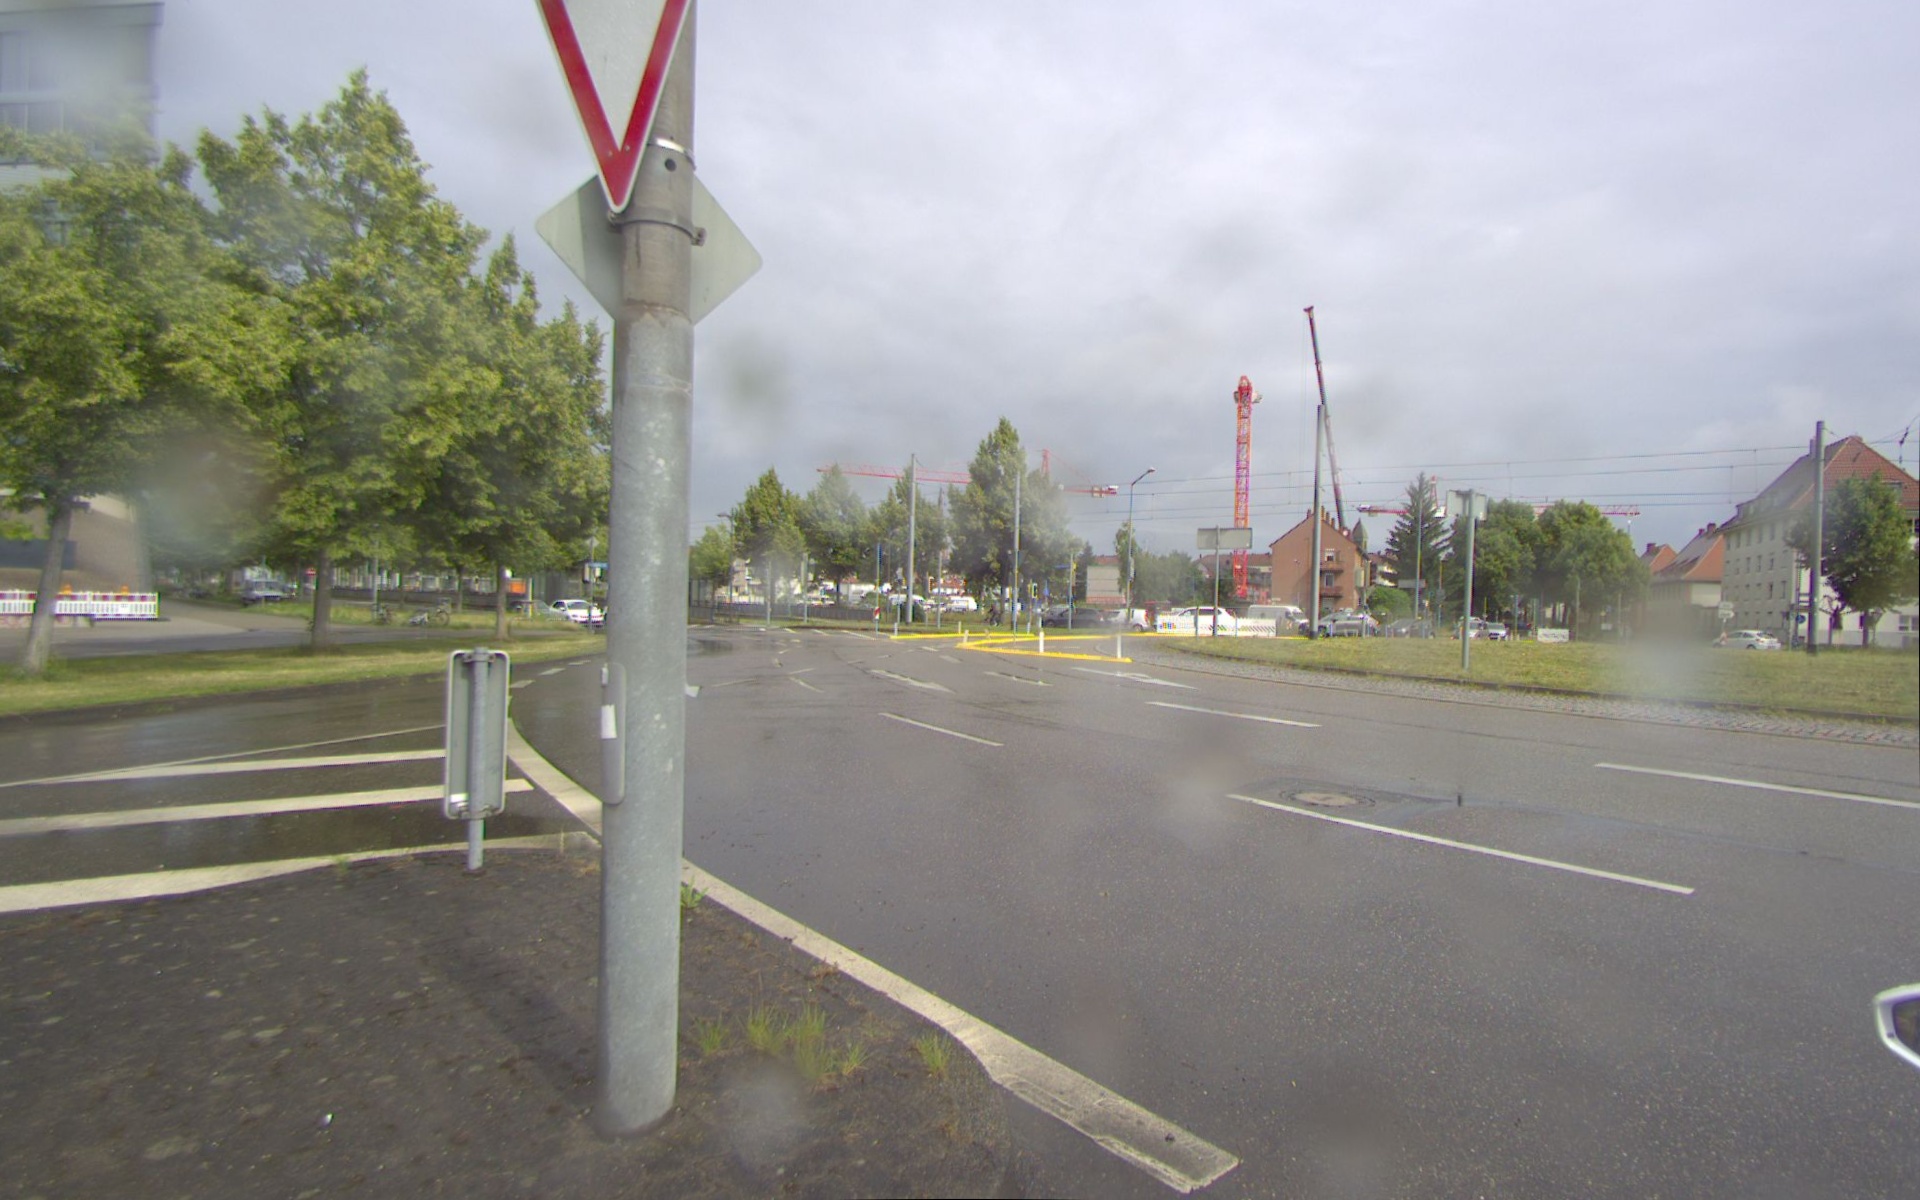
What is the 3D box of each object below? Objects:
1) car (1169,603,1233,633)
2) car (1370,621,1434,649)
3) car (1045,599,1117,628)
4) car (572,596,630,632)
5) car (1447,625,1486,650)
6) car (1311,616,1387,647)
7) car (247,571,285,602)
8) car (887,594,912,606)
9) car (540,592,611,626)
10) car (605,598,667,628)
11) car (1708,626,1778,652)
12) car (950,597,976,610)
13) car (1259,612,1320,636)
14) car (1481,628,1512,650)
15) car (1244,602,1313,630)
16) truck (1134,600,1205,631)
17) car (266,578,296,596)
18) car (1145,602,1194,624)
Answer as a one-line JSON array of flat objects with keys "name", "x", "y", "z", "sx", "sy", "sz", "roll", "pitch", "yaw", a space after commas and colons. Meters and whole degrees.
[{"name": "car", "x": 13.719, "y": 1.001, "z": 57.212, "sx": 3.429, "sy": 1.530, "sz": 1.501, "roll": 2, "pitch": 1, "yaw": 15}, {"name": "car", "x": 27.609, "y": 2.165, "z": 62.712, "sx": 3.959, "sy": 1.606, "sz": 1.780, "roll": 1, "pitch": 1, "yaw": -35}, {"name": "car", "x": 7.190, "y": 0.789, "z": 59.577, "sx": 3.921, "sy": 1.537, "sz": 1.803, "roll": 1, "pitch": 0, "yaw": 20}, {"name": "car", "x": -21.759, "y": 0.812, "z": 60.792, "sx": 1.984, "sy": 2.040, "sz": 3.952, "roll": 1, "pitch": 0, "yaw": -41}, {"name": "car", "x": 34.024, "y": 2.484, "z": 67.452, "sx": 1.527, "sy": 1.581, "sz": 3.483, "roll": 2, "pitch": 0, "yaw": 40}, {"name": "car", "x": 21.793, "y": 1.764, "z": 56.385, "sx": 3.605, "sy": 1.581, "sz": 1.574, "roll": 2, "pitch": 1, "yaw": -1}, {"name": "car", "x": -55.255, "y": -1.050, "z": 79.967, "sx": 1.854, "sy": 2.391, "sz": 4.413, "roll": 1, "pitch": -1, "yaw": -43}, {"name": "car", "x": -8.337, "y": 0.047, "z": 137.687, "sx": 1.540, "sy": 1.581, "sz": 3.453, "roll": 1, "pitch": 0, "yaw": -45}, {"name": "car", "x": -20.051, "y": 0.499, "z": 52.262, "sx": 1.855, "sy": 1.694, "sz": 4.411, "roll": 1, "pitch": -1, "yaw": -45}, {"name": "car", "x": -17.549, "y": 0.673, "z": 54.308, "sx": 1.715, "sy": 1.528, "sz": 3.854, "roll": 1, "pitch": 0, "yaw": -43}, {"name": "car", "x": 49.907, "y": 2.460, "z": 64.099, "sx": 1.521, "sy": 1.473, "sz": 3.496, "roll": 1, "pitch": 0, "yaw": -7}, {"name": "car", "x": 0.391, "y": 0.426, "z": 140.392, "sx": 3.549, "sy": 1.745, "sz": 1.491, "roll": 1, "pitch": 0, "yaw": 43}, {"name": "car", "x": 25.025, "y": 1.835, "z": 76.379, "sx": 3.930, "sy": 1.706, "sz": 1.995, "roll": 2, "pitch": 0, "yaw": -12}, {"name": "car", "x": 42.149, "y": 3.053, "z": 78.917, "sx": 1.574, "sy": 1.581, "sz": 3.537, "roll": 2, "pitch": 1, "yaw": 37}, {"name": "car", "x": 30.062, "y": 1.488, "z": 94.969, "sx": 2.022, "sy": 2.113, "sz": 6.206, "roll": 2, "pitch": 2, "yaw": -34}, {"name": "truck", "x": 18.311, "y": 1.308, "z": 88.072, "sx": 2.375, "sy": 2.241, "sz": 6.037, "roll": 2, "pitch": 2, "yaw": -36}, {"name": "car", "x": -68.624, "y": -1.281, "z": 101.534, "sx": 1.854, "sy": 1.767, "sz": 4.034, "roll": 1, "pitch": -1, "yaw": -43}, {"name": "car", "x": 19.443, "y": 1.167, "z": 93.305, "sx": 3.946, "sy": 1.723, "sz": 1.846, "roll": 5, "pitch": 1, "yaw": 45}]
